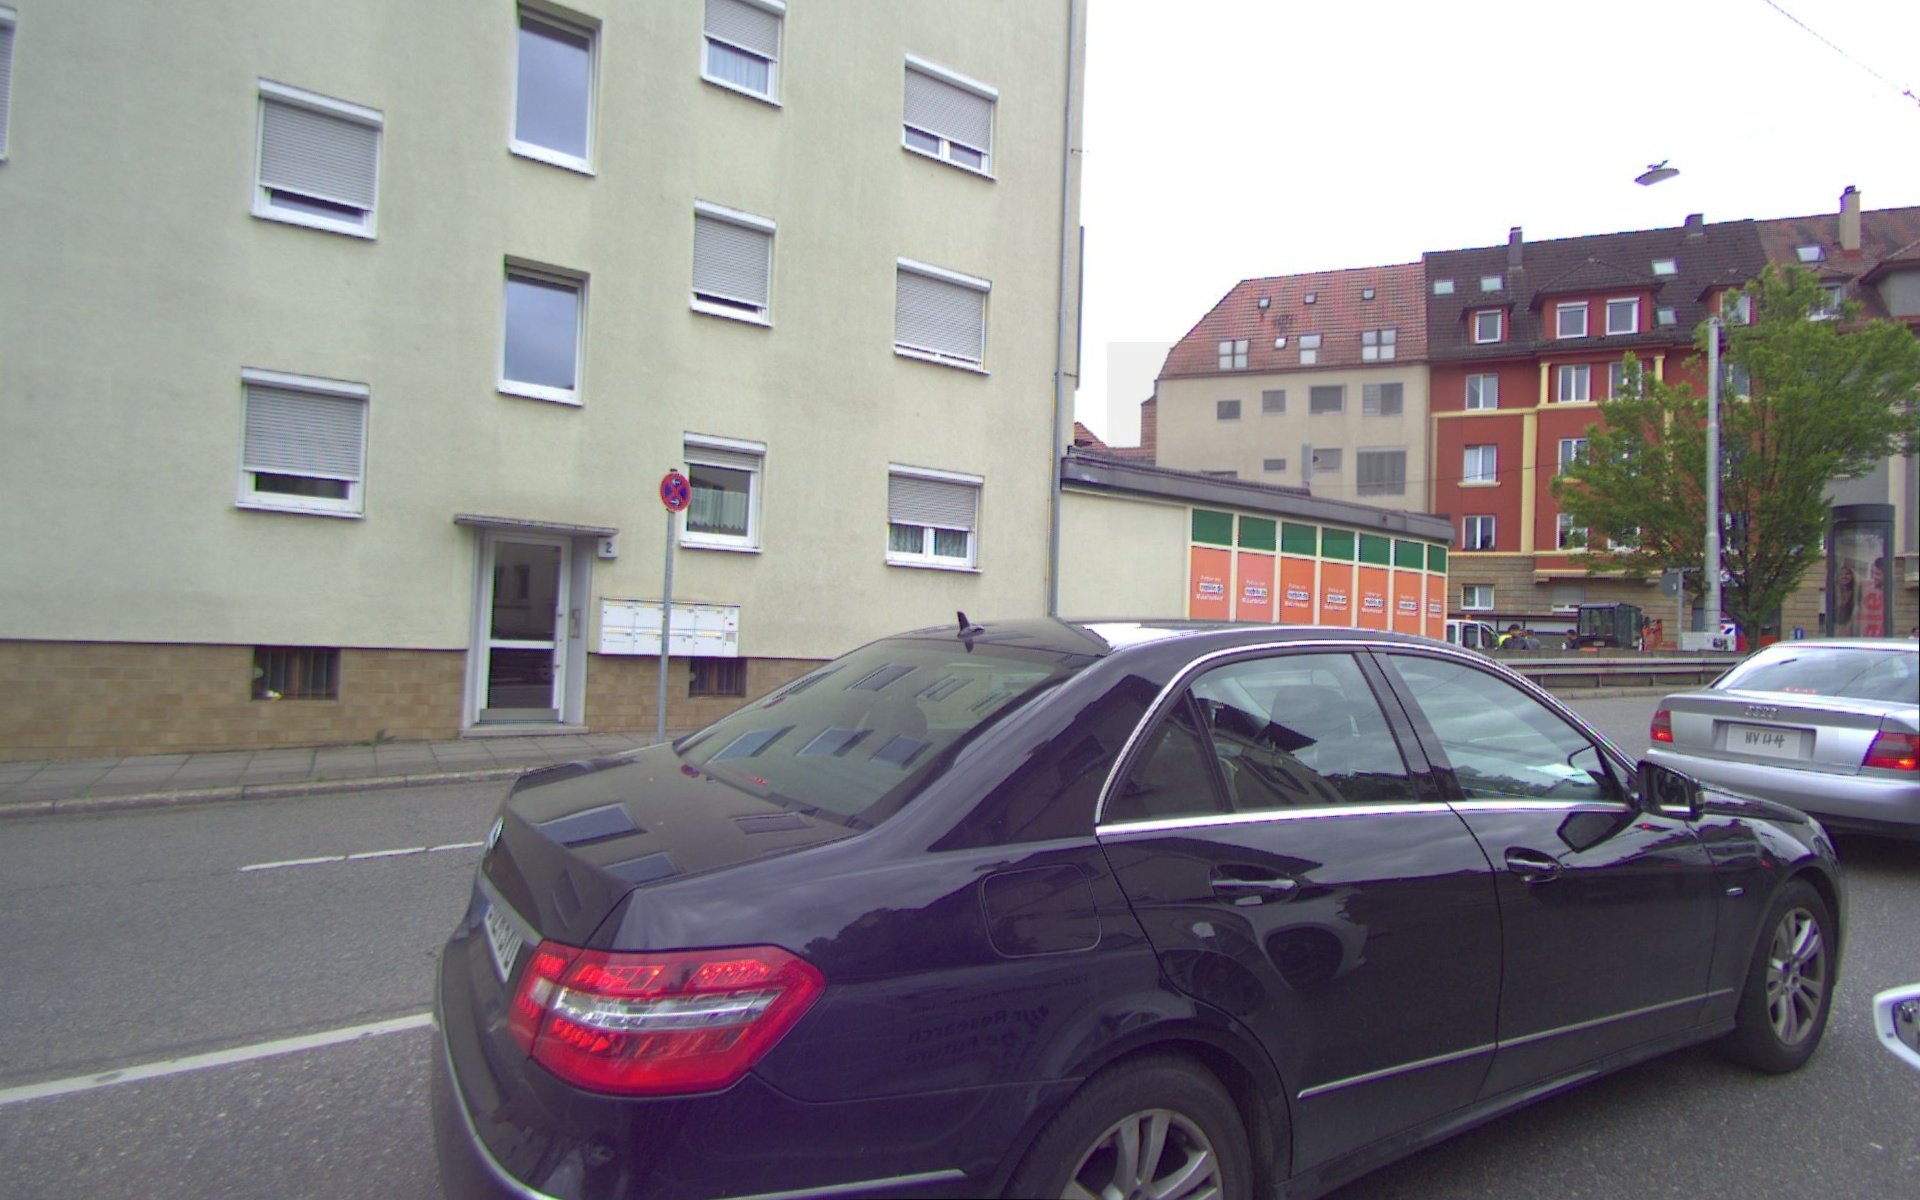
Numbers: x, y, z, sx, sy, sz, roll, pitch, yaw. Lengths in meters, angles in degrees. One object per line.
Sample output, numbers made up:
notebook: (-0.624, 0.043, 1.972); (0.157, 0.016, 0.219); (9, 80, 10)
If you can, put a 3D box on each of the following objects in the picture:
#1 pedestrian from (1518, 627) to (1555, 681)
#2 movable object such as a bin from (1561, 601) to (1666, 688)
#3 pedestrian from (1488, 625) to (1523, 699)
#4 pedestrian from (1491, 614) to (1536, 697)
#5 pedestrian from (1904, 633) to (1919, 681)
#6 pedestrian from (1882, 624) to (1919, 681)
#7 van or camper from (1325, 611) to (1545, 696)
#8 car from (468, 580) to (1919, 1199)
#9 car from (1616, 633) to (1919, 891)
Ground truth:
pedestrian: (14.938, 1.383, 26.045); (0.613, 1.381, 0.602); (0, -1, 4)
movable object such as a bin: (16.551, 1.100, 25.380); (3.510, 2.040, 1.363); (2, -2, -42)
pedestrian: (15.457, 1.734, 28.461); (0.812, 2.040, 0.678); (0, -1, 32)
pedestrian: (11.336, 1.121, 20.581); (0.680, 1.658, 0.775); (0, -1, 39)
pedestrian: (27.488, 1.631, 28.654); (0.572, 1.356, 0.576); (0, -1, 5)
pedestrian: (26.811, 1.474, 28.405); (0.724, 1.567, 0.794); (0, -1, -3)
van or camper: (14.532, 1.565, 31.016); (5.894, 2.369, 2.686); (0, -1, 26)
car: (1.078, 0.763, 3.378); (4.785, 1.447, 1.984); (1, -2, -30)
car: (6.686, 0.938, 7.080); (4.073, 1.383, 1.623); (1, -2, -26)
